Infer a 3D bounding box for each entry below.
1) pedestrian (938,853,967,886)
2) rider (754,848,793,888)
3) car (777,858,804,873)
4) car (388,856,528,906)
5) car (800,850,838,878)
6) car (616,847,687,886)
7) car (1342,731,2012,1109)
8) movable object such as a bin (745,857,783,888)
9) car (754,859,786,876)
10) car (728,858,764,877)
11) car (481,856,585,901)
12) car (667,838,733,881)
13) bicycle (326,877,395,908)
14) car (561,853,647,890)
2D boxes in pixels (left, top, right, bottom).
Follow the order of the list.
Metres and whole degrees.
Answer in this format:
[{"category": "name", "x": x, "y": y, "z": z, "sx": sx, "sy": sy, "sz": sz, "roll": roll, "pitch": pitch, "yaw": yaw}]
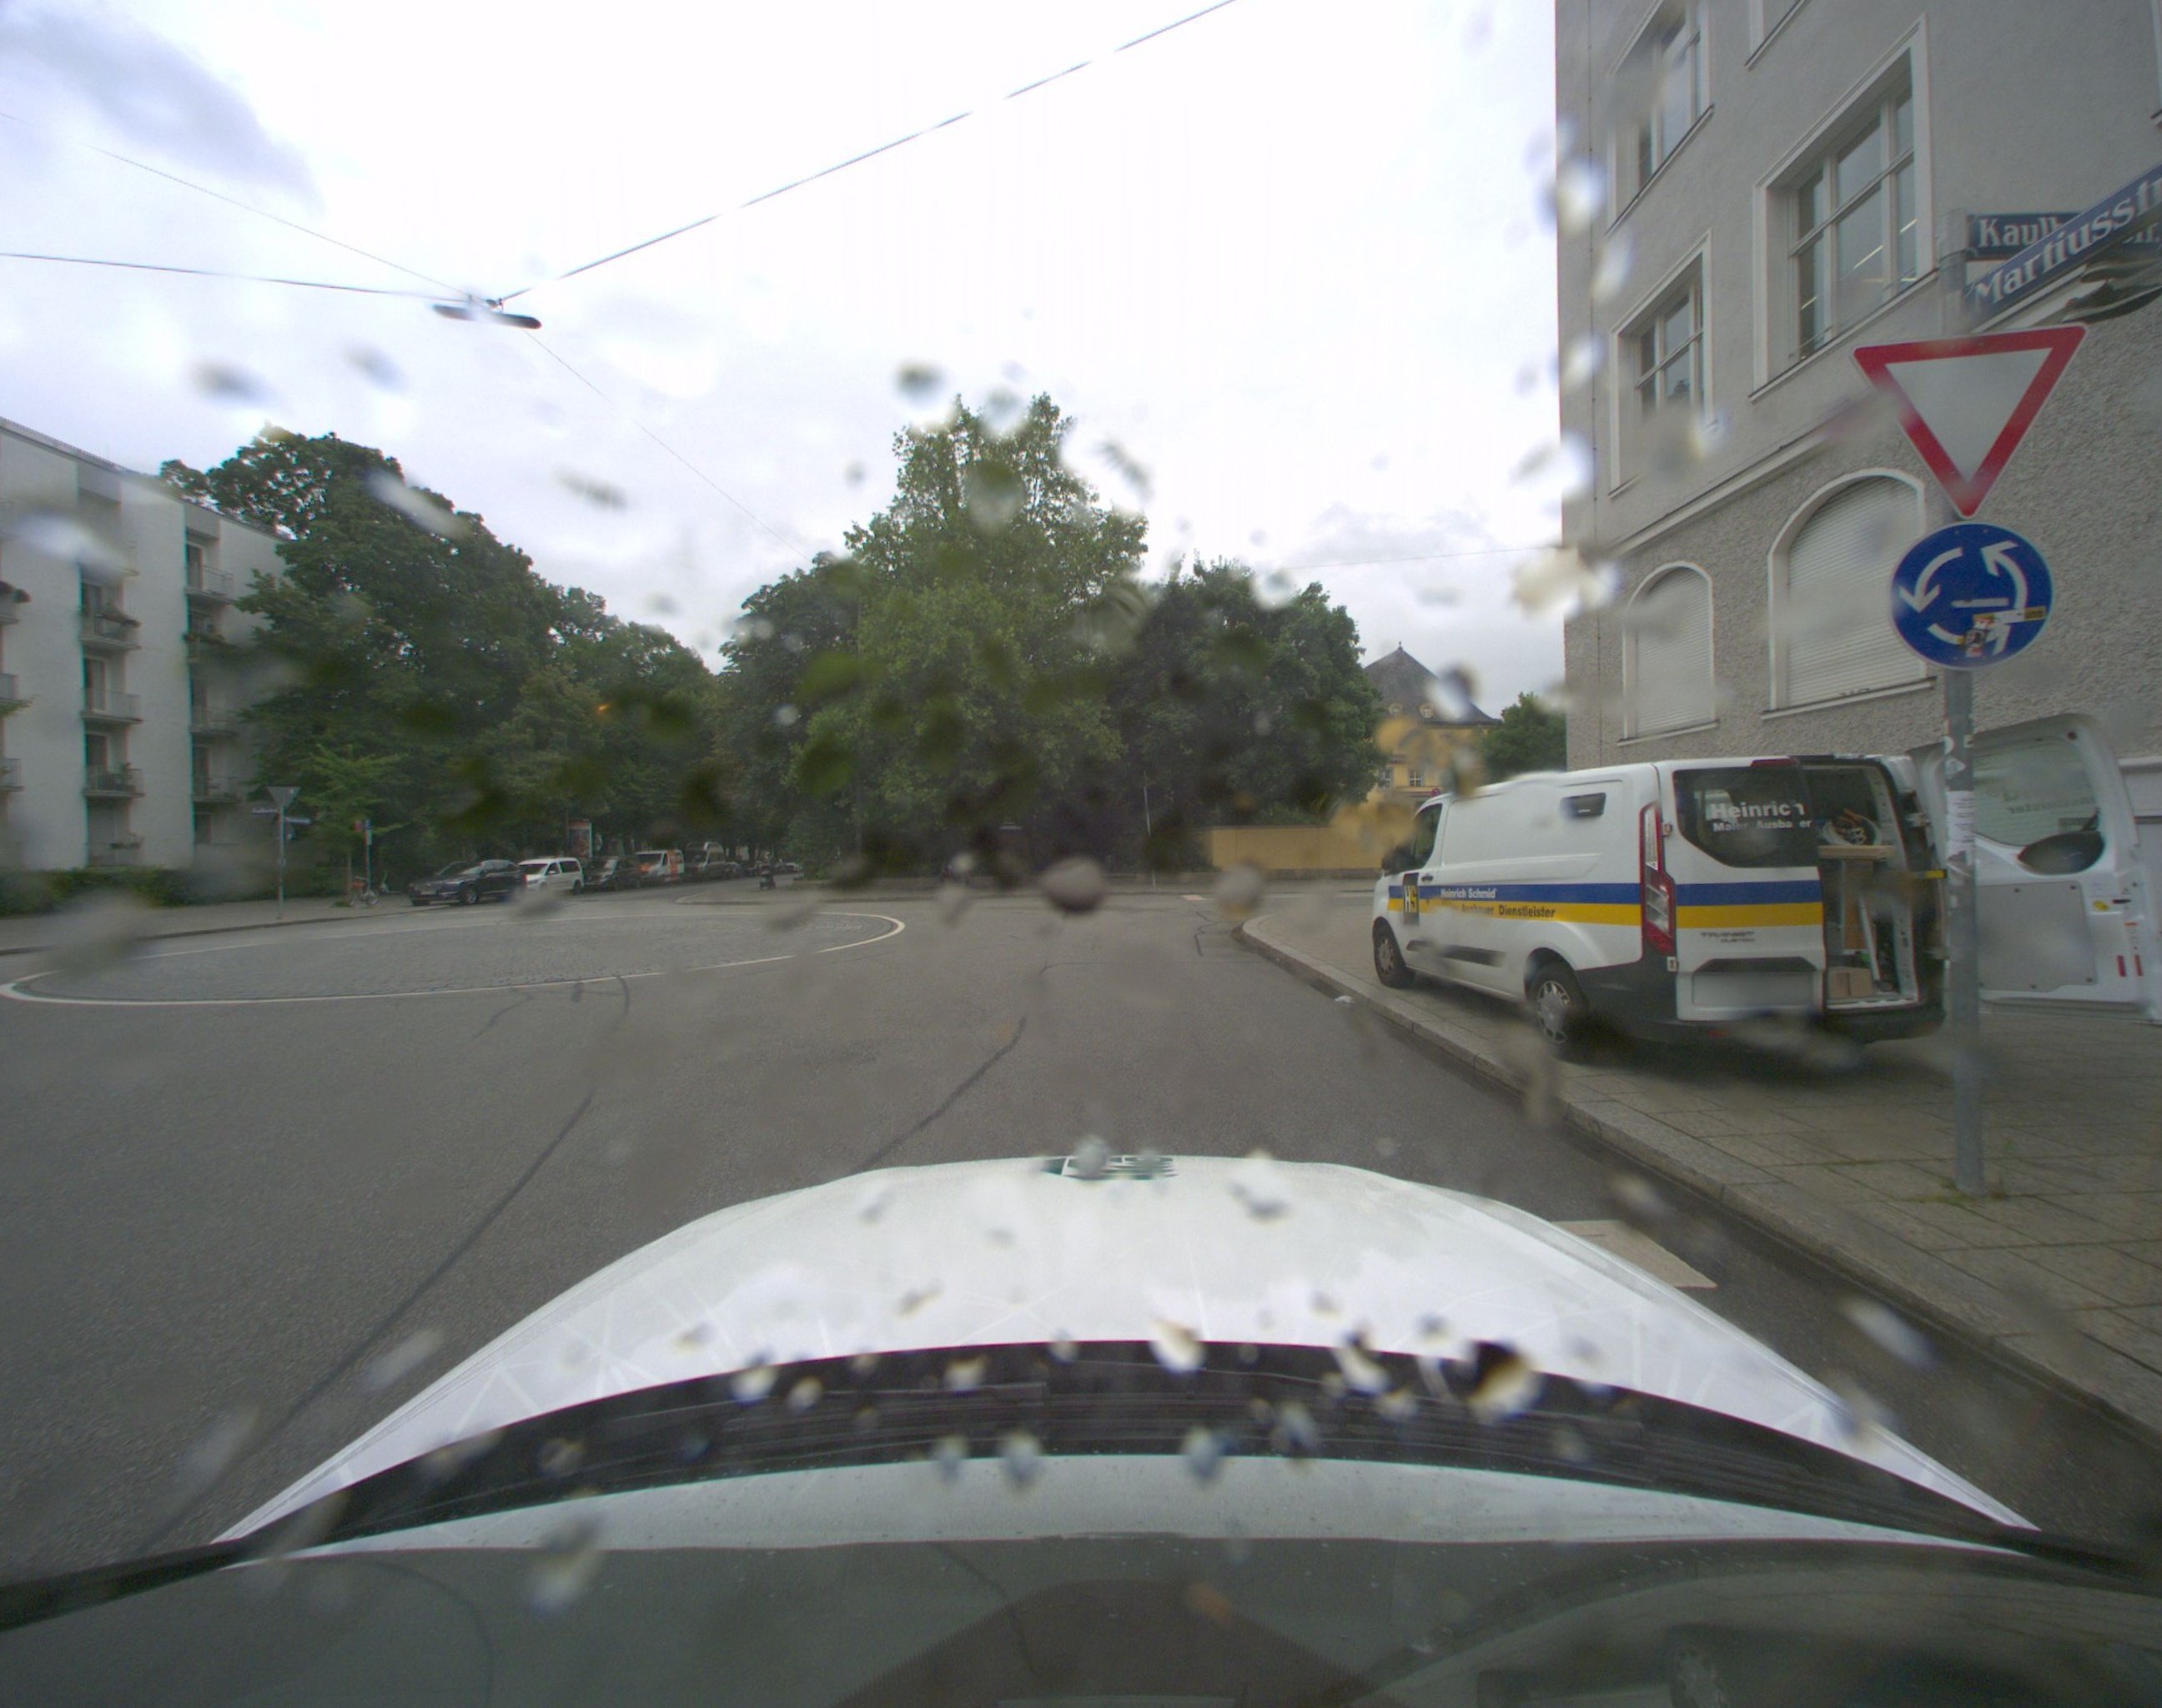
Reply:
[{"category": "pedestrian", "x": -4.684, "y": 0.555, "z": 29.687, "sx": 0.808, "sy": 1.189, "sz": 0.921, "roll": -1, "pitch": 0, "yaw": 5}, {"category": "rider", "x": -13.618, "y": 0.592, "z": 36.082, "sx": 1.076, "sy": 1.667, "sz": 1.142, "roll": -4, "pitch": 0, "yaw": 7}, {"category": "car", "x": -32.382, "y": 1.266, "z": 90.826, "sx": 1.893, "sy": 1.571, "sz": 4.065, "roll": -1, "pitch": 0, "yaw": -6}, {"category": "car", "x": -24.427, "y": 1.007, "z": 32.213, "sx": 2.062, "sy": 1.767, "sz": 4.898, "roll": -1, "pitch": 0, "yaw": -5}, {"category": "car", "x": -18.913, "y": 0.700, "z": 58.905, "sx": 2.042, "sy": 1.922, "sz": 4.429, "roll": -1, "pitch": 0, "yaw": -11}, {"category": "car", "x": -26.990, "y": 0.750, "z": 51.402, "sx": 2.108, "sy": 2.251, "sz": 5.185, "roll": -1, "pitch": 0, "yaw": -5}, {"category": "car", "x": 4.028, "y": 0.328, "z": 6.861, "sx": 1.910, "sy": 1.962, "sz": 4.924, "roll": -2, "pitch": 0, "yaw": -2}, {"category": "movable object such as a bin", "x": -13.711, "y": 0.798, "z": 35.236, "sx": 1.072, "sy": 1.267, "sz": 1.089, "roll": -4, "pitch": 0, "yaw": 7}, {"category": "car", "x": -30.488, "y": 1.282, "z": 79.874, "sx": 1.893, "sy": 1.571, "sz": 4.065, "roll": -1, "pitch": 0, "yaw": -6}, {"category": "car", "x": -29.330, "y": 1.152, "z": 71.399, "sx": 1.893, "sy": 1.538, "sz": 4.065, "roll": -1, "pitch": 0, "yaw": -6}, {"category": "car", "x": -25.127, "y": 1.050, "z": 37.598, "sx": 1.924, "sy": 1.894, "sz": 4.856, "roll": -1, "pitch": 0, "yaw": -7}, {"category": "car", "x": -28.193, "y": 0.384, "z": 60.531, "sx": 2.331, "sy": 2.922, "sz": 6.566, "roll": -1, "pitch": 0, "yaw": -5}, {"category": "bicycle", "x": -26.656, "y": 1.400, "z": 30.174, "sx": 0.909, "sy": 1.051, "sz": 1.968, "roll": -1, "pitch": 0, "yaw": -5}, {"category": "car", "x": -25.763, "y": 0.877, "z": 44.195, "sx": 2.062, "sy": 1.859, "sz": 4.977, "roll": -1, "pitch": 0, "yaw": -5}]
